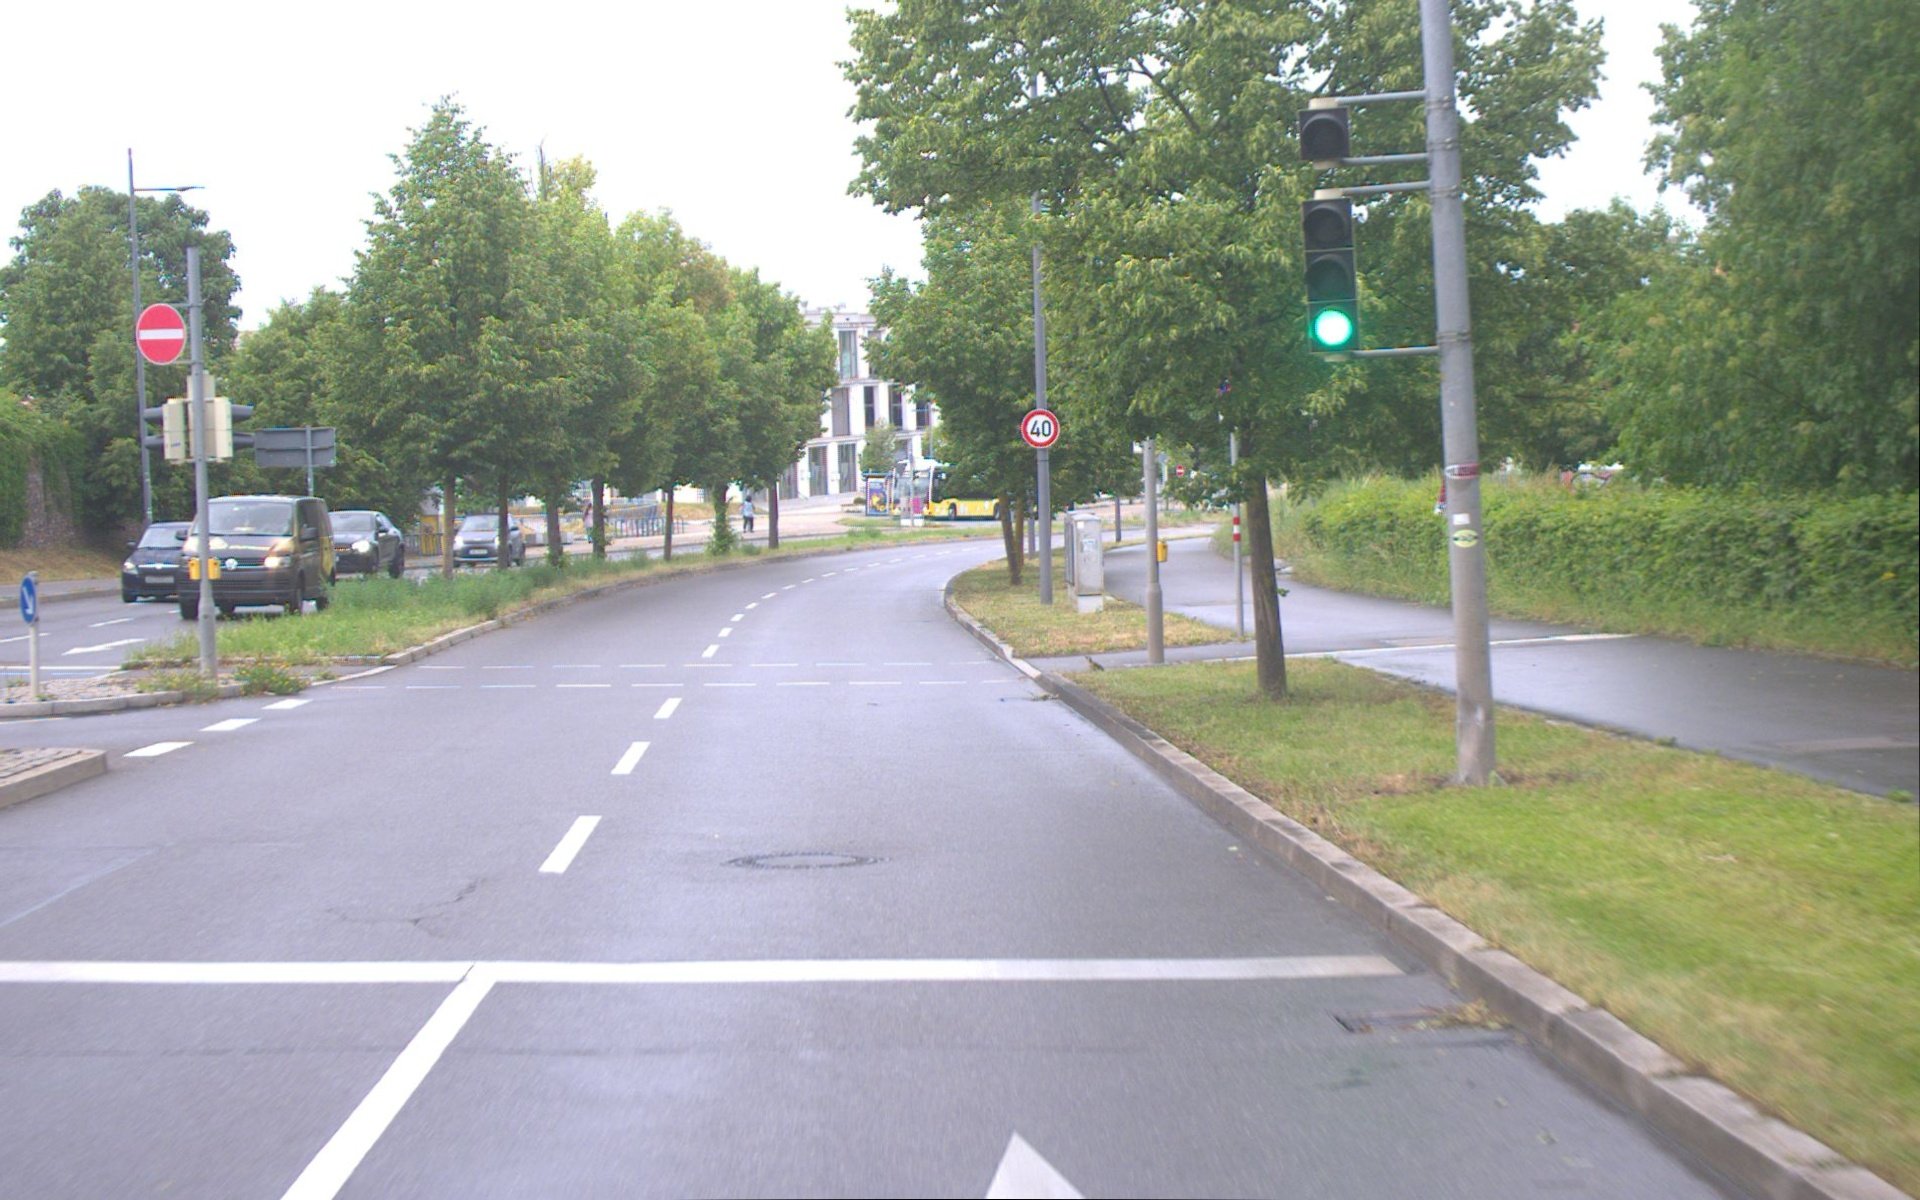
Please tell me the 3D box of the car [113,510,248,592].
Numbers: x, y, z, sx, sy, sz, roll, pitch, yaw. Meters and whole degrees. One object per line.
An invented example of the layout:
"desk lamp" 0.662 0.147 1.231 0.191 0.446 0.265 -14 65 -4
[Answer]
"car" -14.476 -0.932 64.036 1.598 1.484 4.000 0 1 0

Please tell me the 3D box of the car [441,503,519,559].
"car" -13.652 -1.980 97.878 1.686 1.534 2.916 0 2 3

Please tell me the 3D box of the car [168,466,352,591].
"car" -11.260 -1.154 55.621 2.013 1.912 5.096 0 1 -1

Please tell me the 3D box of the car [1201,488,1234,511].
"car" 17.751 -6.924 236.716 1.480 1.489 2.527 0 1 24

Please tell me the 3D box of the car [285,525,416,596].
"car" -14.218 -0.937 80.385 1.881 1.589 4.766 1 1 4

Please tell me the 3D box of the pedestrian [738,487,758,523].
"pedestrian" -9.462 -4.245 153.356 0.834 1.568 0.719 0 0 -6

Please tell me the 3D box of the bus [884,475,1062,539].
"bus" 0.936 -5.253 198.114 2.788 3.345 18.201 0 0 25
